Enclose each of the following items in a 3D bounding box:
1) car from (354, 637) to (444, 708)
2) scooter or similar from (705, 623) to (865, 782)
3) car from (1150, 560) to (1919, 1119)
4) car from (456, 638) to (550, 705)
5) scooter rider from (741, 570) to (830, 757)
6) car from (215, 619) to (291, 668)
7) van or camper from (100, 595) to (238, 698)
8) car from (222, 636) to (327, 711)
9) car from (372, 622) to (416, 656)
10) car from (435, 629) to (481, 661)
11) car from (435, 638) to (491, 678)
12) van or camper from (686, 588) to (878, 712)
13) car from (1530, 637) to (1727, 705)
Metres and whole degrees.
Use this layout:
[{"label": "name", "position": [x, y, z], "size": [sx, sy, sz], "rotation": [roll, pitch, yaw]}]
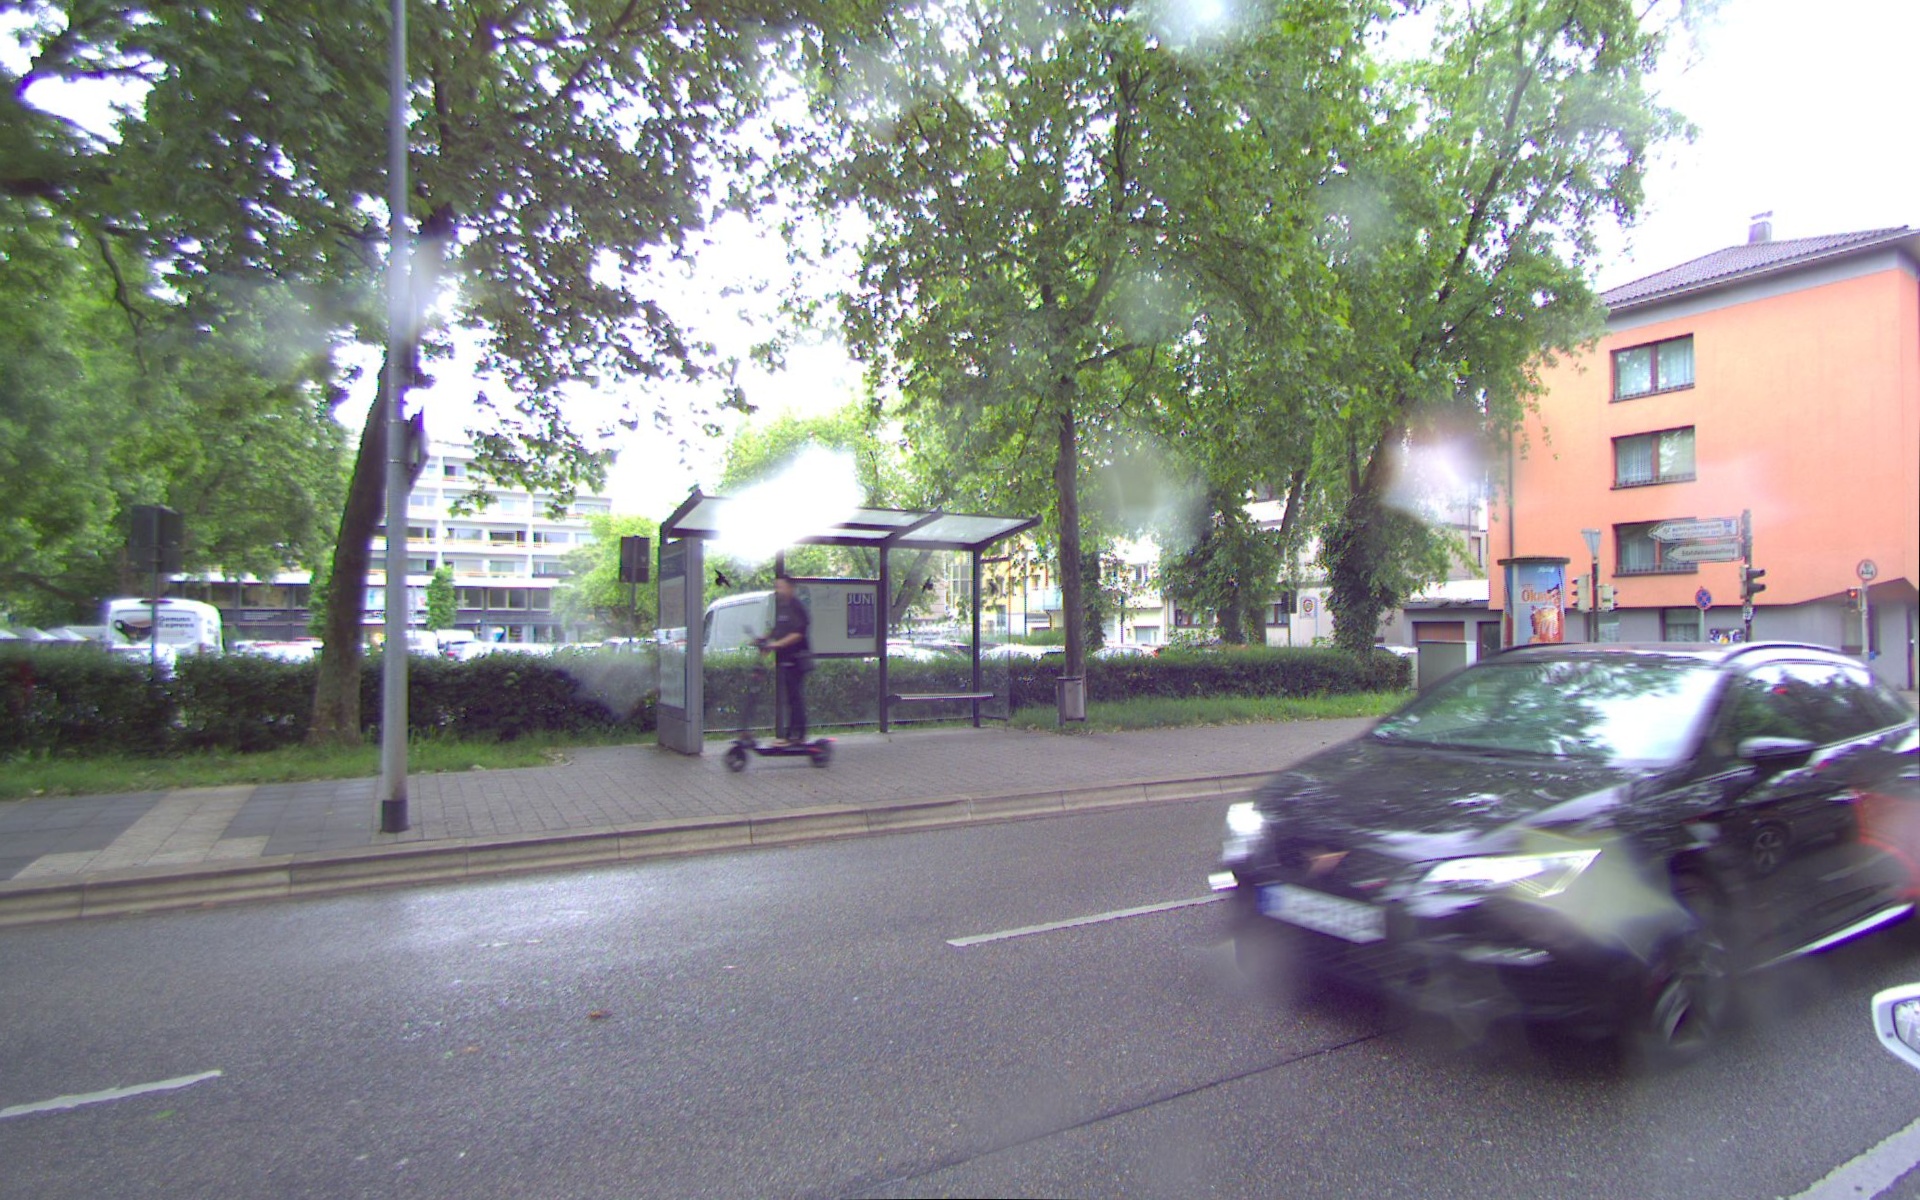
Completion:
[{"label": "car", "position": [-14.630, 1.820, 26.108], "size": [1.876, 1.506, 3.966], "rotation": [2, 0, -31]}, {"label": "scooter or similar", "position": [-1.758, 0.974, 10.077], "size": [1.382, 1.465, 0.810], "rotation": [1, 0, -31]}, {"label": "car", "position": [3.081, 0.780, 4.850], "size": [4.091, 1.646, 1.836], "rotation": [1, -3, -32]}, {"label": "car", "position": [-12.537, 1.883, 27.400], "size": [1.876, 1.506, 3.966], "rotation": [2, 0, -31]}, {"label": "scooter rider", "position": [-1.757, 0.623, 10.095], "size": [0.637, 1.789, 0.730], "rotation": [2, -2, -29]}, {"label": "car", "position": [-25.075, 1.506, 35.730], "size": [1.876, 1.506, 3.966], "rotation": [2, 0, -31]}, {"label": "van or camper", "position": [-20.677, 1.199, 26.462], "size": [2.073, 2.463, 4.310], "rotation": [1, -2, -28]}, {"label": "car", "position": [-16.880, 1.752, 24.891], "size": [1.876, 1.506, 3.966], "rotation": [2, 0, -31]}, {"label": "car", "position": [-32.503, 2.213, 57.605], "size": [2.075, 1.745, 3.966], "rotation": [2, 0, -31]}, {"label": "car", "position": [-26.992, 2.379, 53.934], "size": [1.876, 1.506, 3.966], "rotation": [2, 0, -31]}, {"label": "car", "position": [-22.135, 2.524, 44.680], "size": [1.876, 1.506, 3.966], "rotation": [2, 0, -31]}, {"label": "van or camper", "position": [-3.407, 0.877, 18.472], "size": [1.978, 1.975, 4.572], "rotation": [1, -2, -31]}, {"label": "car", "position": [16.608, 1.729, 25.055], "size": [3.816, 1.553, 1.790], "rotation": [-3, -4, 45]}]
